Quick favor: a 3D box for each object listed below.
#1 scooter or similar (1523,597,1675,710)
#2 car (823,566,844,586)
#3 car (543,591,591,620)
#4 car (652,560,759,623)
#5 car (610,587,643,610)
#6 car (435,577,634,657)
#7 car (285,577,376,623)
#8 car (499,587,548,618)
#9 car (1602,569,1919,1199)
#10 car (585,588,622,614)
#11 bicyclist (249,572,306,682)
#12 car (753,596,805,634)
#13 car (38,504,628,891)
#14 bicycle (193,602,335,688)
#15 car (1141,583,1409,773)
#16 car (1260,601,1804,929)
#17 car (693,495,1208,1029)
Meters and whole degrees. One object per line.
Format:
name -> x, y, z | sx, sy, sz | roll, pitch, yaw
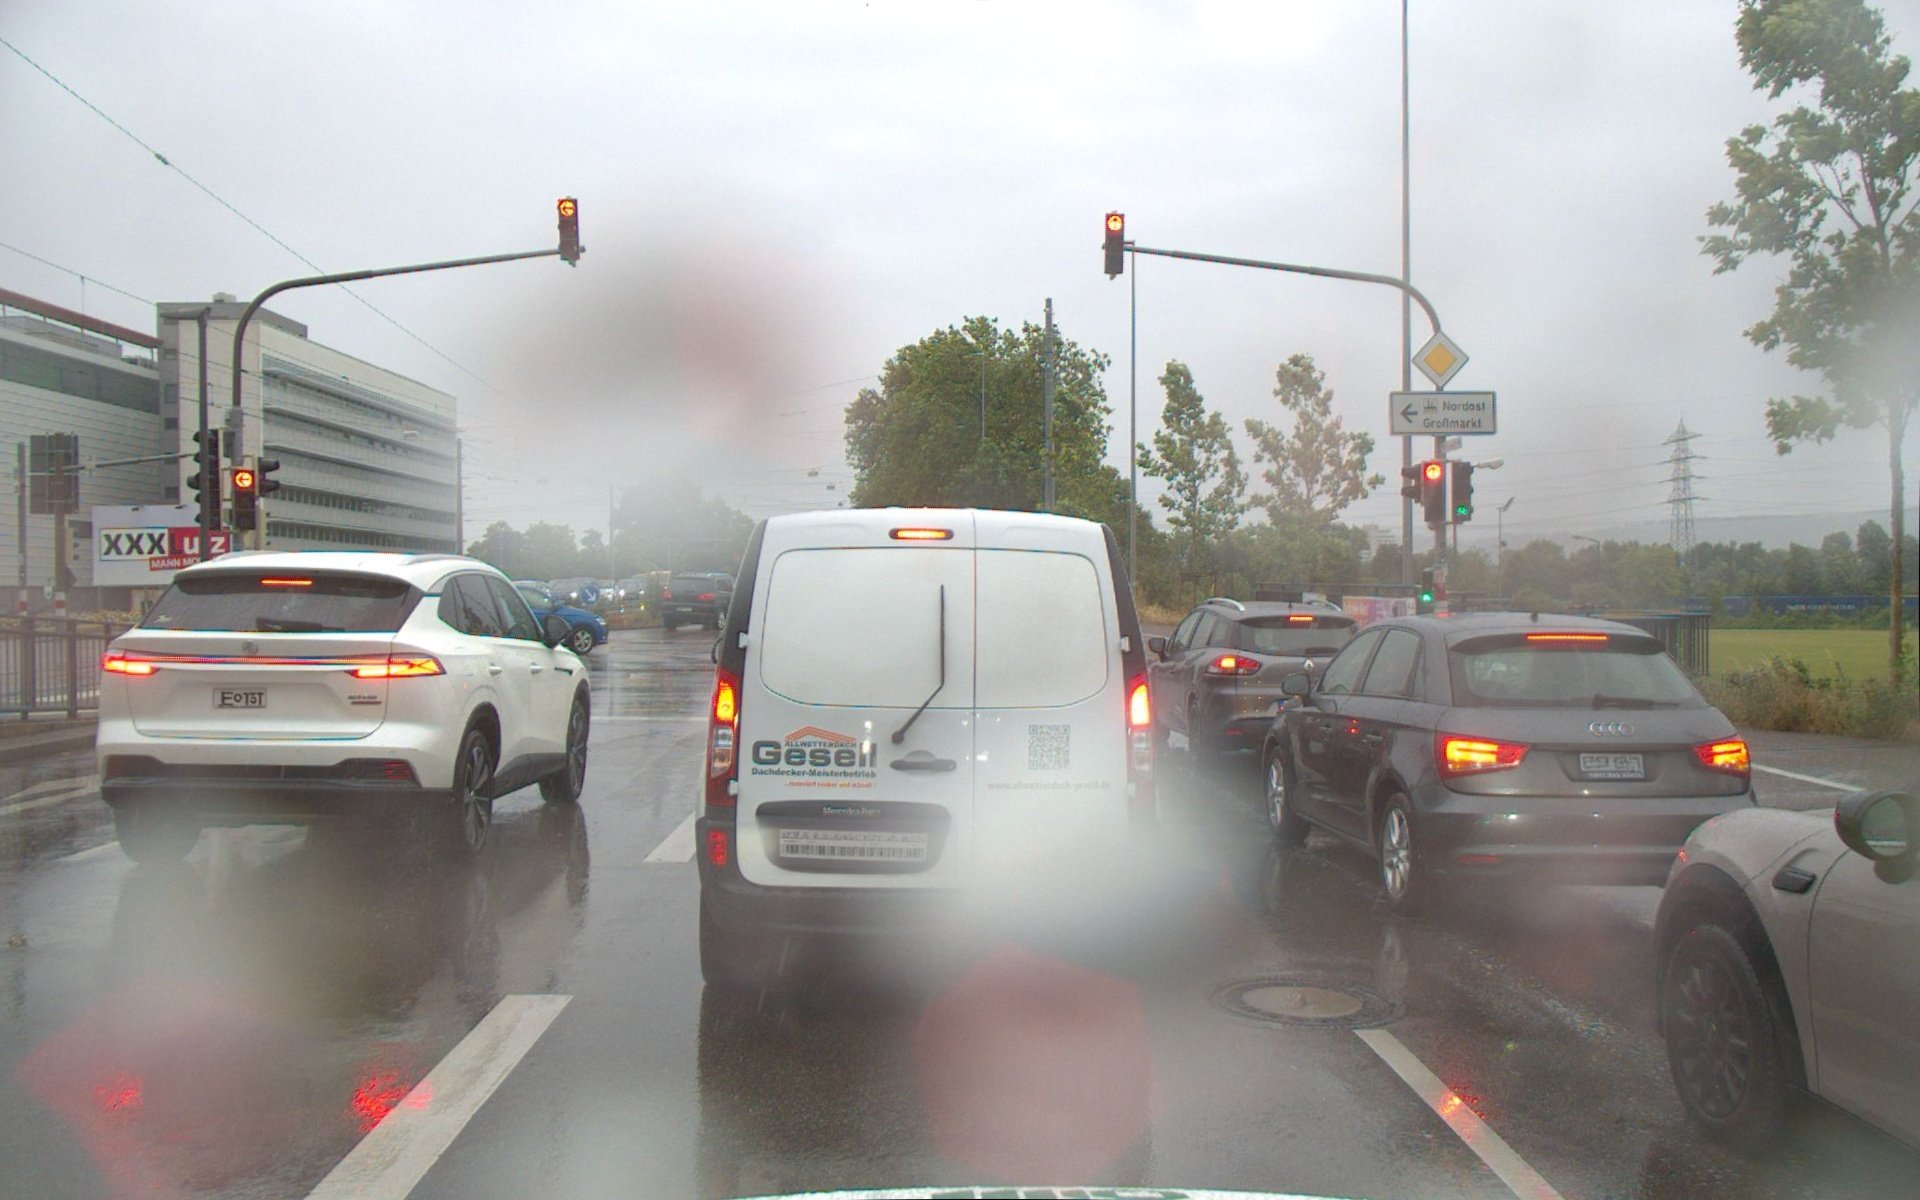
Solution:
scooter or similar -> 7.636, 0.593, 19.945 | 0.676, 1.232, 3.020 | 0, 0, 0
car -> -11.995, -2.273, 156.994 | 1.909, 1.691, 4.460 | 2, -1, -4
car -> -21.503, 0.328, 90.590 | 1.676, 1.451, 3.808 | 2, -1, -1
car -> -7.633, -0.230, 49.887 | 1.666, 1.703, 3.799 | 4, 0, 16
car -> -22.660, -0.104, 112.432 | 1.528, 1.451, 3.568 | 2, -1, -1
car -> -8.905, 0.372, 34.736 | 3.704, 1.533, 1.629 | 3, 0, -38
car -> -21.585, 0.034, 56.852 | 1.676, 1.451, 3.808 | 2, -1, -1
car -> -22.017, 0.130, 83.555 | 1.528, 1.451, 3.568 | 2, -1, -1
car -> 2.888, 0.744, 3.215 | 1.668, 1.534, 3.879 | 3, 0, -1
car -> -22.081, 0.078, 102.459 | 1.528, 1.451, 3.568 | 2, -1, -1
bicyclist -> -9.606, 0.376, 23.264 | 0.598, 1.517, 0.592 | 1, 0, -36
car -> -7.416, 0.582, 67.969 | 1.611, 1.422, 3.455 | 4, 0, 2
car -> -3.455, 0.468, 10.229 | 1.891, 1.806, 4.663 | 1, 0, -1
bicycle -> -9.718, 0.629, 23.133 | 1.740, 1.157, 0.513 | 1, 0, -38
car -> 2.811, 0.643, 15.582 | 1.650, 1.534, 3.919 | 1, 0, -2
car -> 2.806, 0.742, 8.965 | 1.565, 1.390, 3.629 | -1, -1, -2
car -> -0.172, 0.516, 7.663 | 1.719, 1.780, 4.166 | 1, 1, -4
